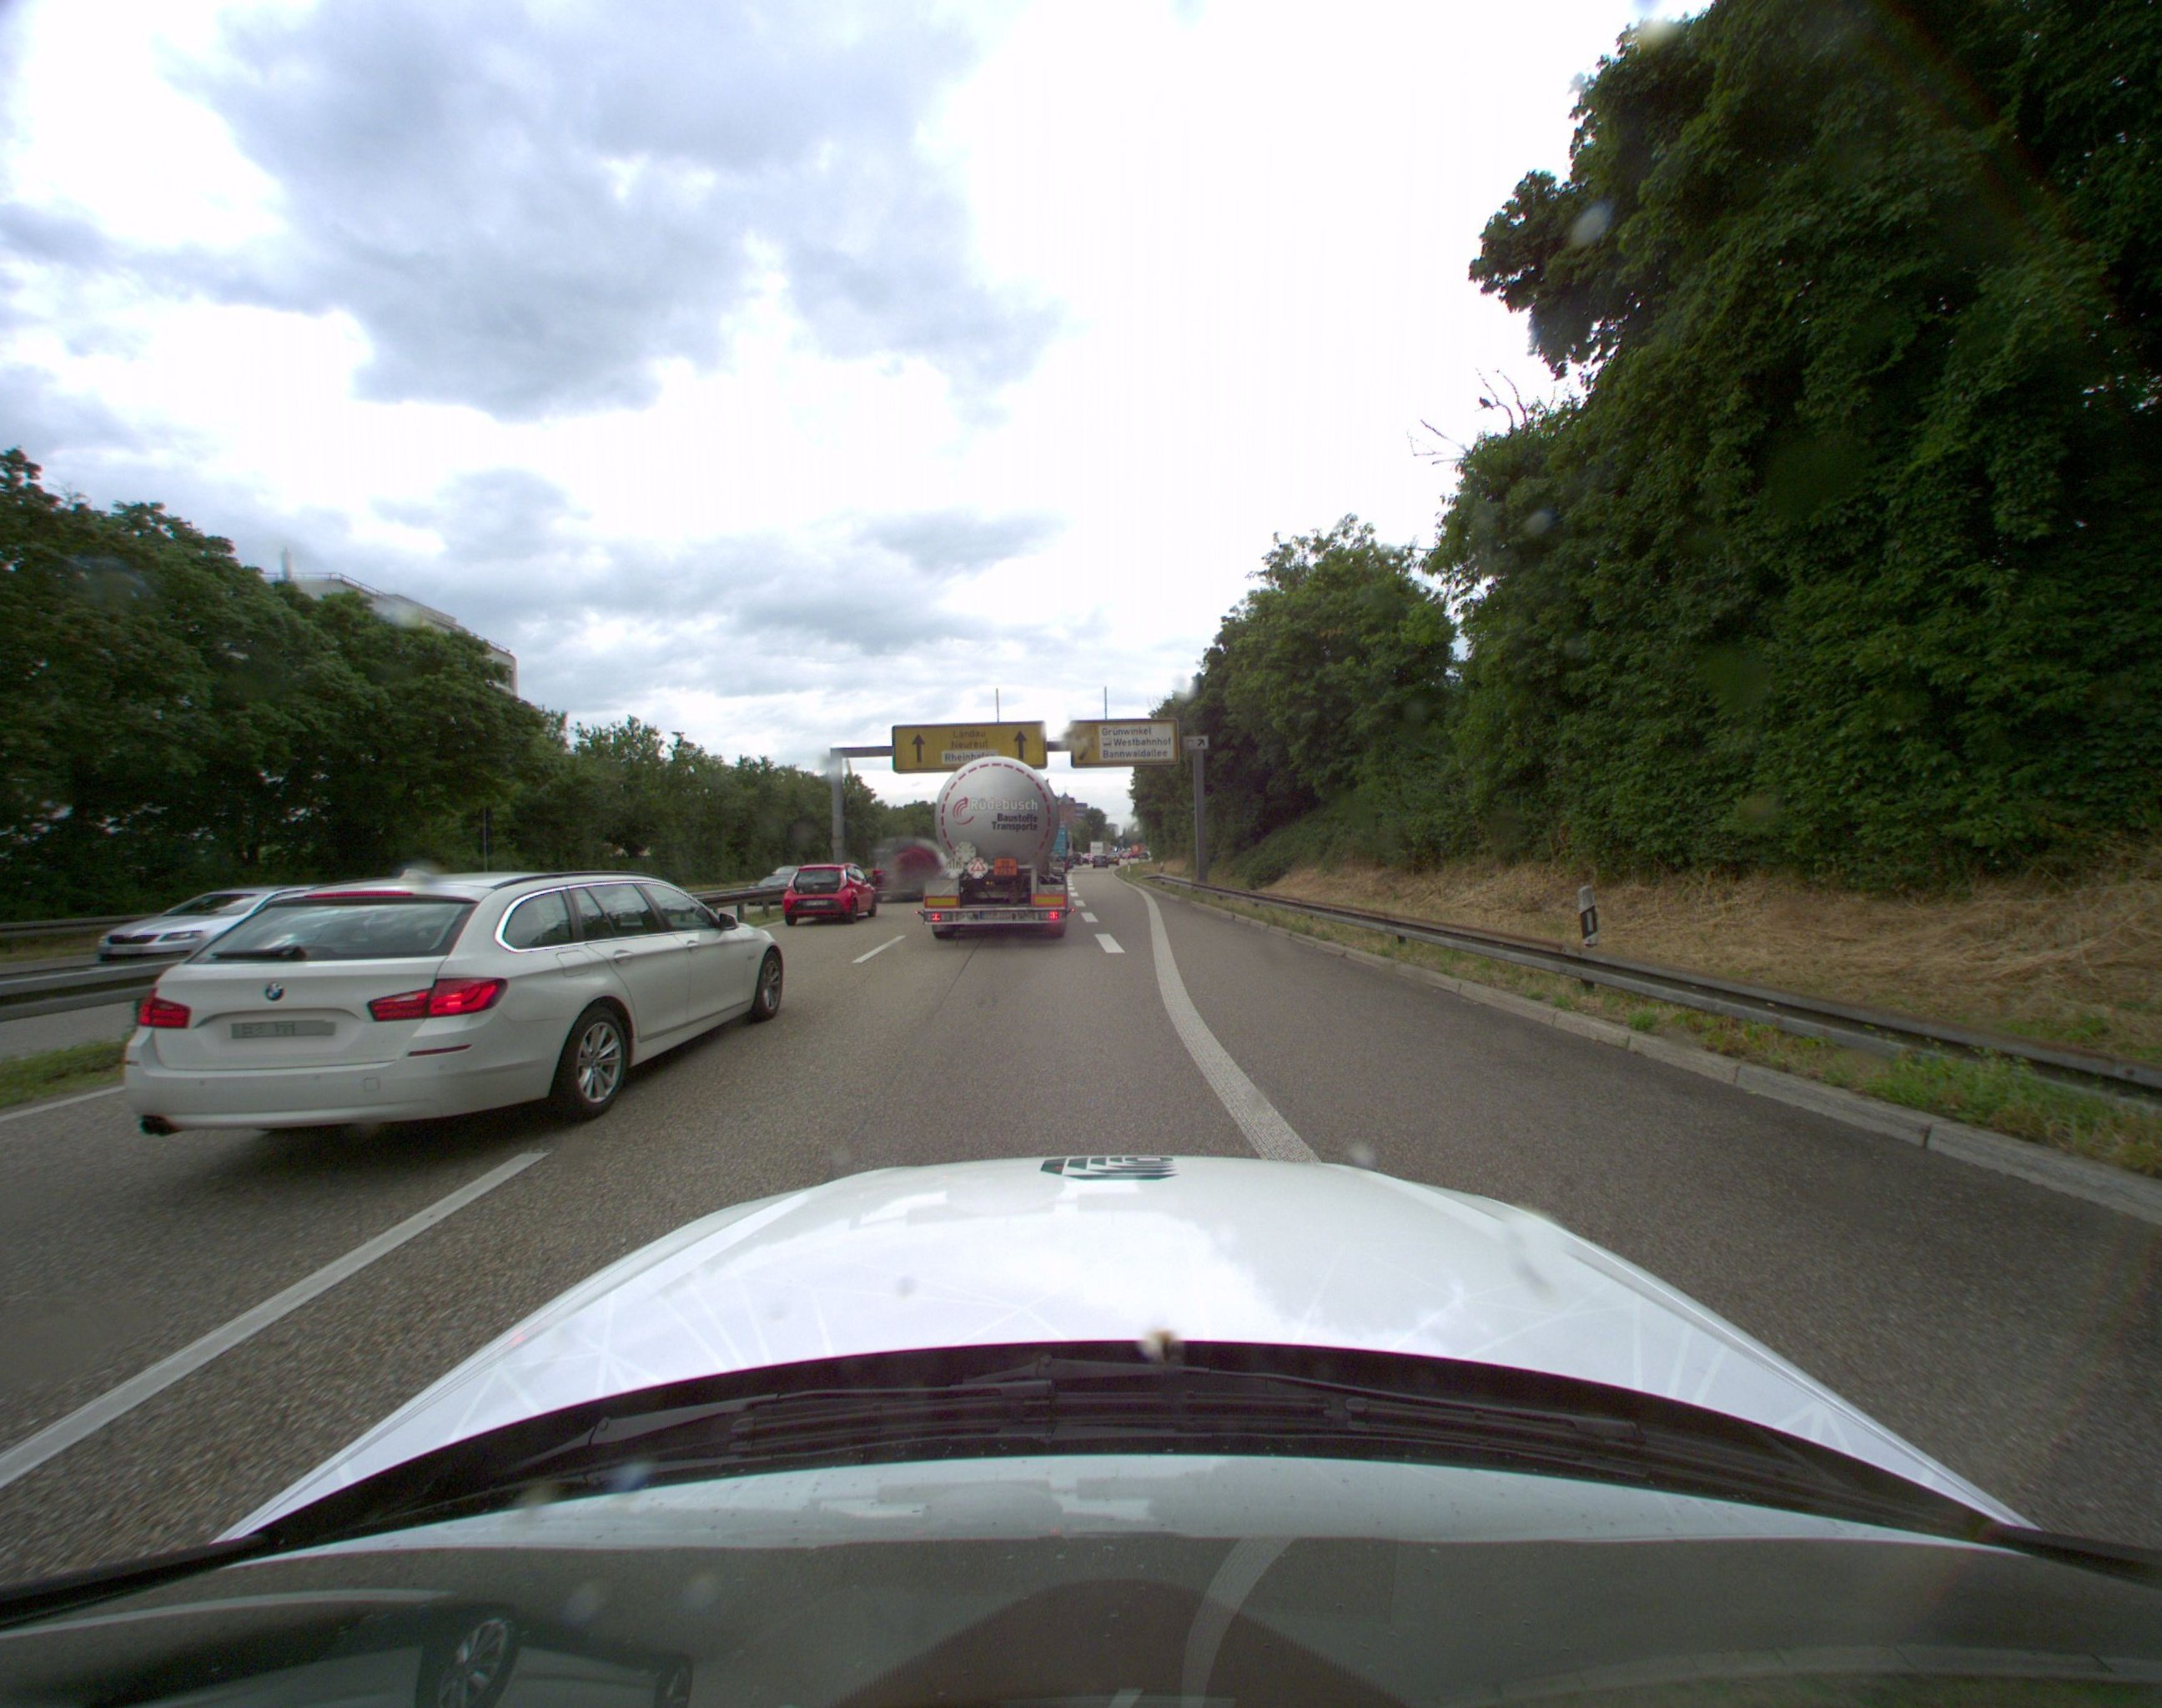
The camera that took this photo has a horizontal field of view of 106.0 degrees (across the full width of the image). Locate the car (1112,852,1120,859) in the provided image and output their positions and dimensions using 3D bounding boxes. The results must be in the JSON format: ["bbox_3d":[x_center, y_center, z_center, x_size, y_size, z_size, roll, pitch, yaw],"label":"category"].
[{"bbox_3d":[8.331,0.286,193.386,1.522,1.552,3.425,-2,0,7],"label":"car"}]

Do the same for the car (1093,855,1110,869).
[{"bbox_3d":[2.402,0.901,95.790,1.817,1.482,4.004,-2,0,3],"label":"car"}]

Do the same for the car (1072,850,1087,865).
[{"bbox_3d":[-0.236,0.491,115.688,1.982,1.898,4.983,-2,0,-1],"label":"car"}]

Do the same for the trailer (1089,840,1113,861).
[{"bbox_3d":[4.136,-0.664,162.490,3.280,4.036,13.127,-1,-1,8],"label":"trailer"}]

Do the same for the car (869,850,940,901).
[{"bbox_3d":[-6.371,0.751,29.731,1.871,1.707,3.996,0,-1,-3],"label":"car"}]

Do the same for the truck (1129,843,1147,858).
[{"bbox_3d":[16.786,-1.118,237.092,3.468,4.073,13.632,-2,0,11],"label":"truck"}]

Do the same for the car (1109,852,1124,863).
[{"bbox_3d":[4.903,0.448,112.466,1.816,1.482,4.006,-2,0,5],"label":"car"}]

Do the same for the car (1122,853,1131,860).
[{"bbox_3d":[11.508,0.576,205.332,1.706,1.684,4.011,-1,-1,10],"label":"car"}]

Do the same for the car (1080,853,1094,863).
[{"bbox_3d":[0.936,0.578,127.241,1.839,1.460,4.835,-2,0,3],"label":"car"}]

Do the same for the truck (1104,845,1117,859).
[{"bbox_3d":[8.977,-0.681,246.081,2.723,4.138,10.719,0,-1,7],"label":"truck"}]

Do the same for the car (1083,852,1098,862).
[{"bbox_3d":[1.625,0.457,139.649,1.946,1.695,4.876,-2,0,7],"label":"car"}]

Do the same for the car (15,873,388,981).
[{"bbox_3d":[-16.721,1.267,16.056,1.690,1.592,5.274,-2,0,-2],"label":"car"}]

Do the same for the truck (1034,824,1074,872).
[{"bbox_3d":[-2.261,-0.479,72.086,2.919,3.796,11.331,-2,0,1],"label":"truck"}]

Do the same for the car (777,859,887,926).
[{"bbox_3d":[-6.185,0.891,20.665,1.623,1.524,4.087,0,-1,-2],"label":"car"}]

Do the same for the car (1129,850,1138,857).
[{"bbox_3d":[14.667,-0.182,225.841,1.982,2.013,4.010,-2,0,9],"label":"car"}]

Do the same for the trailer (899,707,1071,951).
[{"bbox_3d":[-1.803,-0.422,18.822,2.676,3.907,10.976,-2,0,-3],"label":"trailer"}]

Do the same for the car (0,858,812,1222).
[{"bbox_3d":[-3.874,0.805,6.132,2.053,1.464,5.254,-2,0,-2],"label":"car"}]

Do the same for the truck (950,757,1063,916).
[{"bbox_3d":[-2.015,-0.443,23.887,2.676,3.907,6.929,-2,0,-3],"label":"truck"}]

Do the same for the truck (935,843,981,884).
[{"bbox_3d":[-6.372,0.490,42.632,1.989,2.014,3.995,0,-1,-3],"label":"truck"}]

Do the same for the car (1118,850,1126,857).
[{"bbox_3d":[11.653,-0.083,232.161,1.807,2.013,4.010,-2,0,9],"label":"car"}]

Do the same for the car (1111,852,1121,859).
[{"bbox_3d":[8.320,0.257,193.650,1.789,1.604,4.270,-2,0,10],"label":"car"}]
